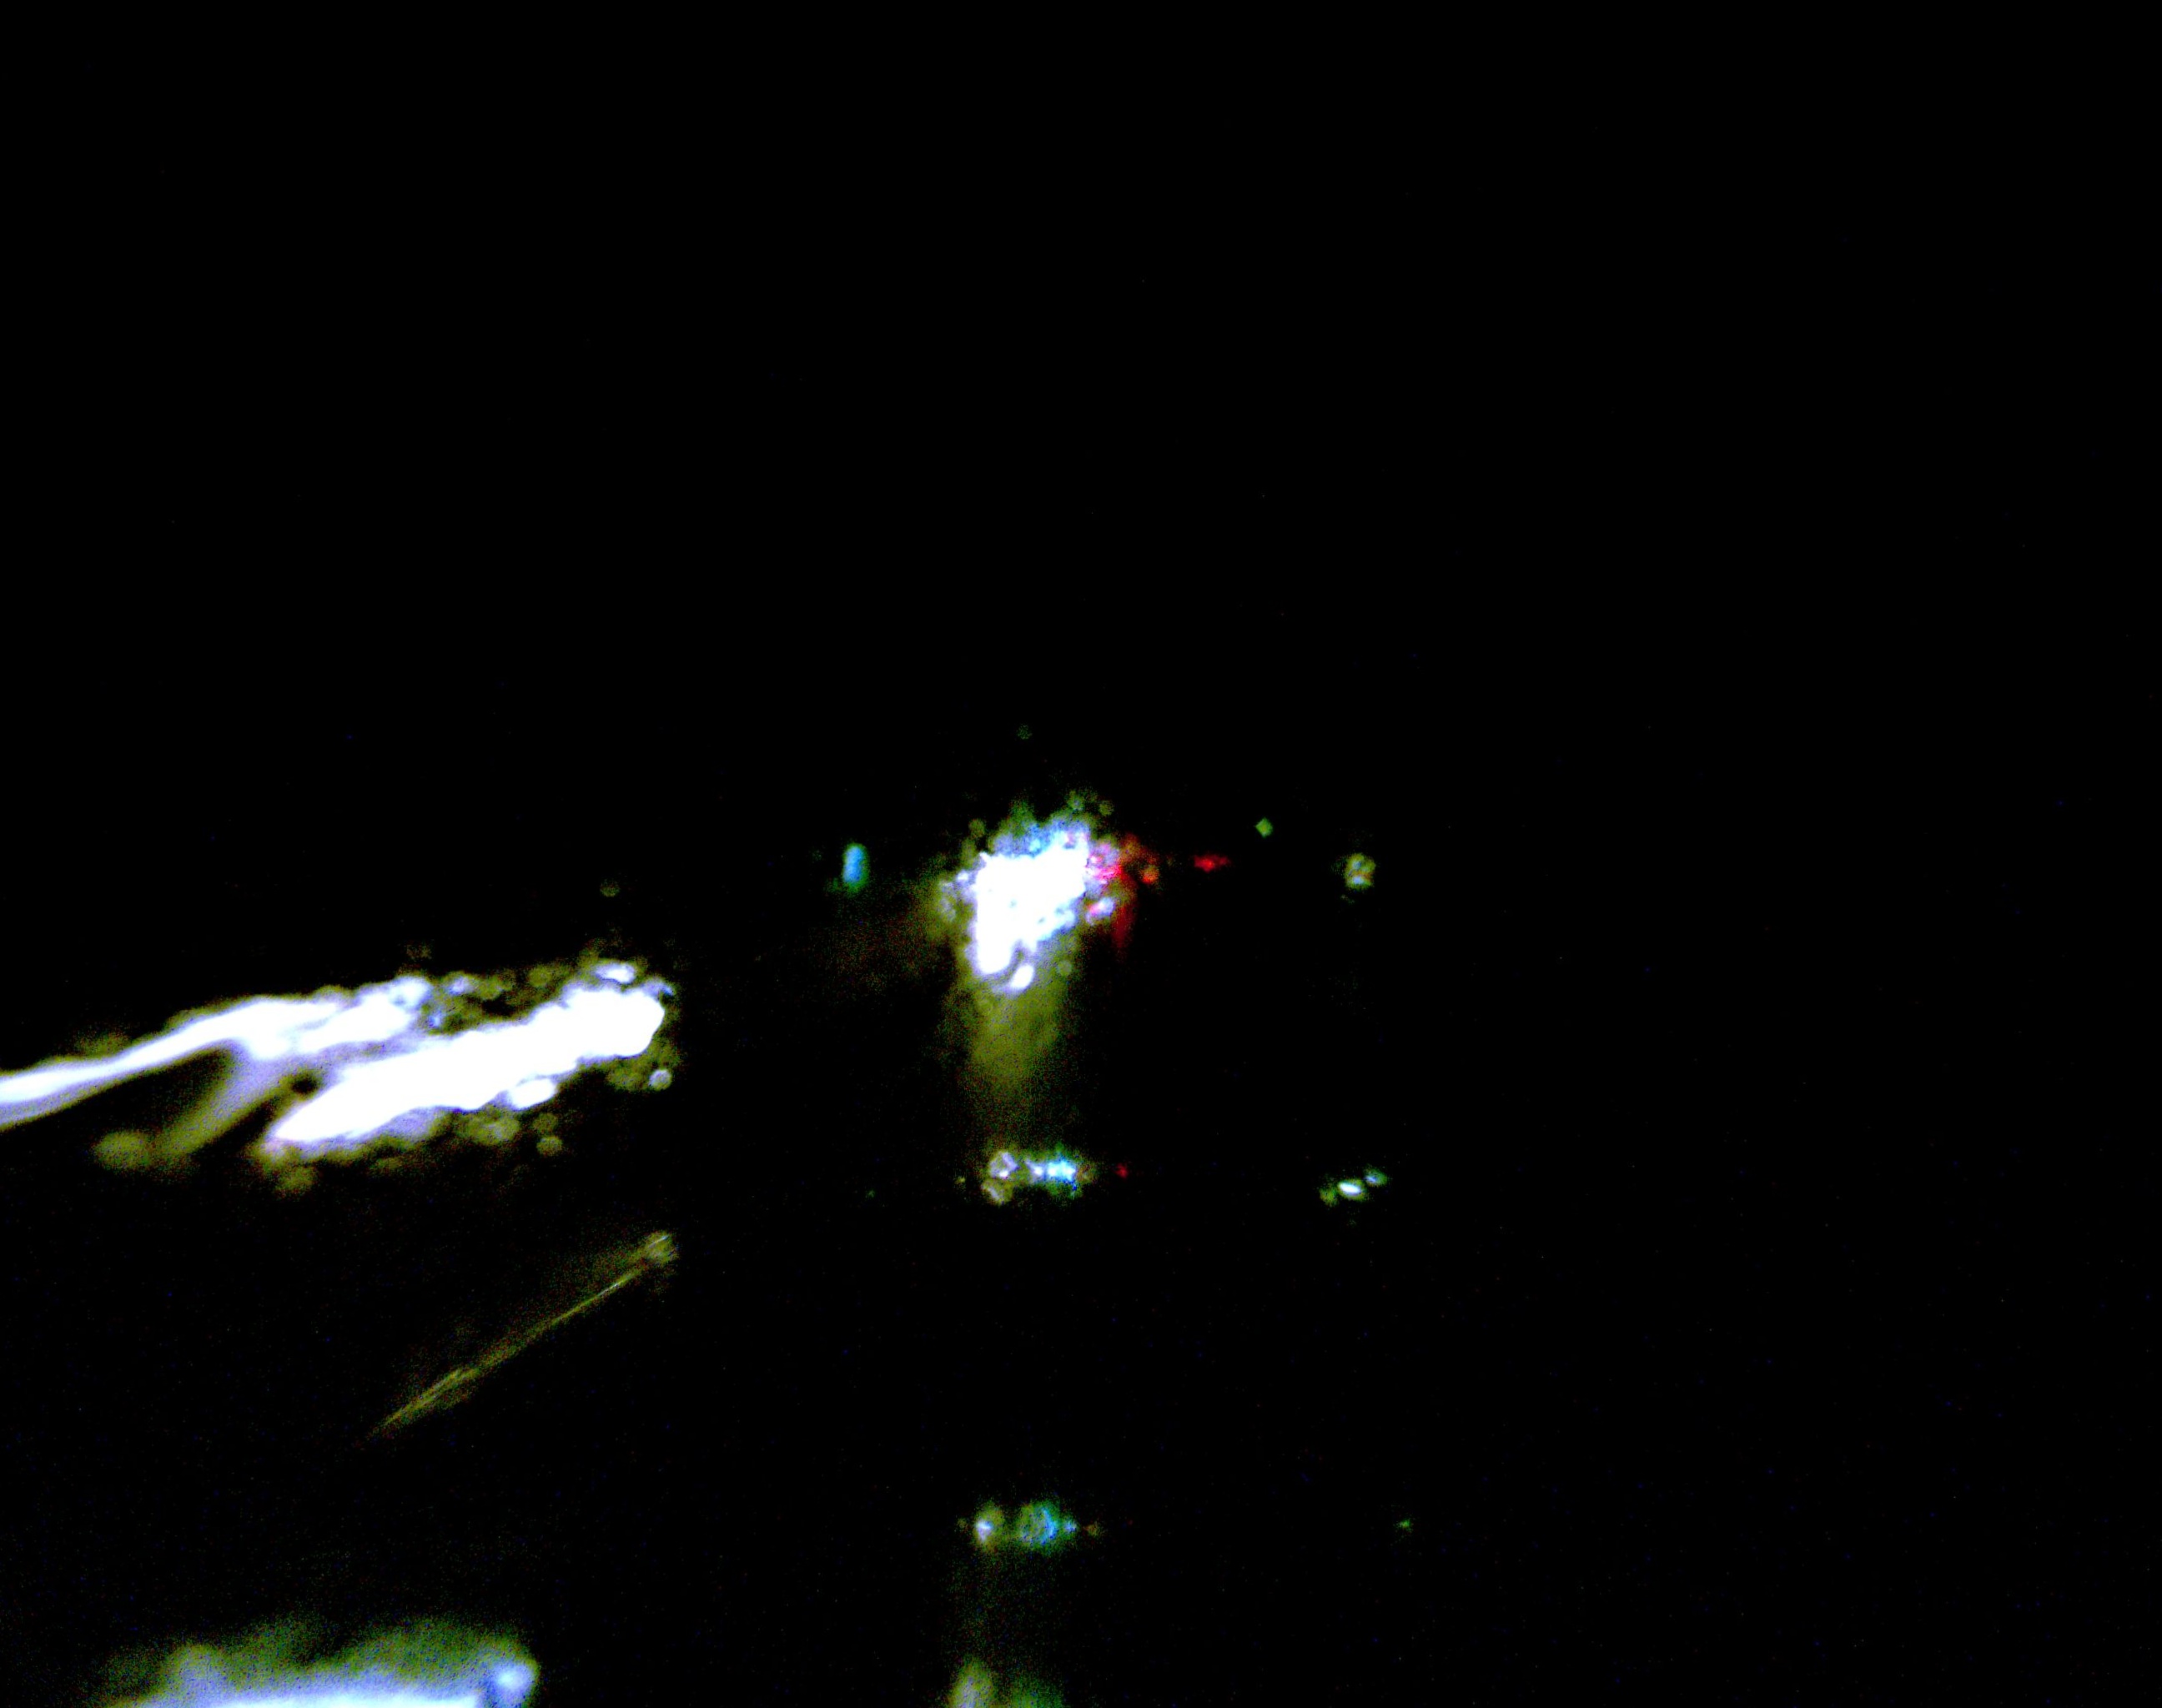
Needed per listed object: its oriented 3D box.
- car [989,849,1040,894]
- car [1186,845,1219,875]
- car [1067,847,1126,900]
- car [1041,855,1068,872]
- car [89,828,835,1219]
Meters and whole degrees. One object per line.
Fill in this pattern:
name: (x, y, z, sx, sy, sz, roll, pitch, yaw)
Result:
car: (-2.614, 0.669, 32.754, 1.785, 1.691, 3.997, 0, 0, -1)
car: (8.590, 0.432, 57.840, 2.083, 2.014, 4.006, 0, 0, 6)
car: (0.476, 0.609, 27.254, 1.803, 1.621, 3.999, 0, 0, 0)
car: (-2.208, 0.761, 69.354, 1.986, 1.418, 4.667, 0, 0, 1)
car: (-3.203, 0.718, 5.350, 1.892, 1.644, 3.793, 0, 0, 2)
